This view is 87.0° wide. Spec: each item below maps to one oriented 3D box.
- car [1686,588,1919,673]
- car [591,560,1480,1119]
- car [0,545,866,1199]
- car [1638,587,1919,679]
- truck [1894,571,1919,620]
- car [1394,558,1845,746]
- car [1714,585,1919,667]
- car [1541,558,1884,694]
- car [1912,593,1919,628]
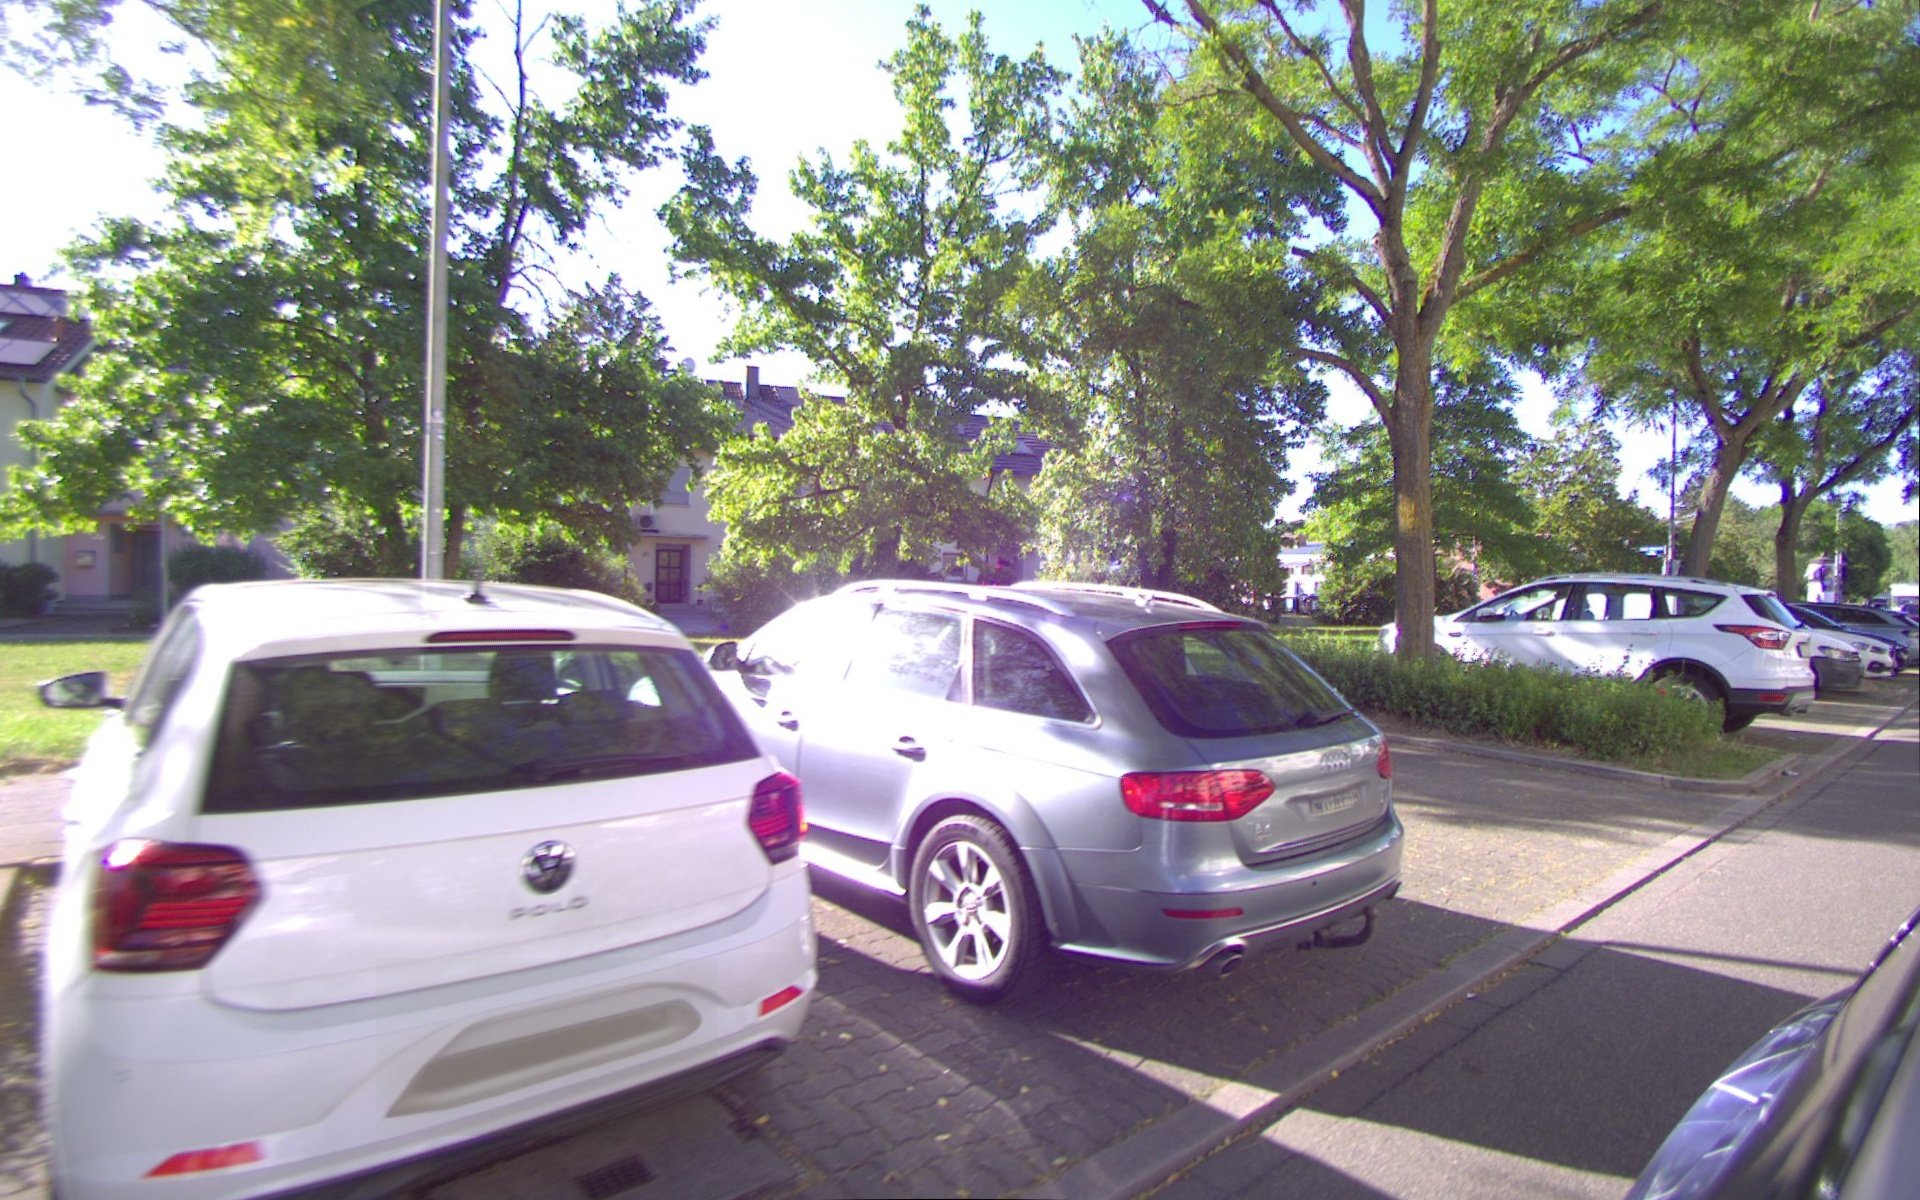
[{"bbox_3d":[18.314,0.580,21.878,1.716,1.679,4.045,0,0,-43],"label":"car"},{"bbox_3d":[-0.121,0.592,5.033,1.715,1.489,4.488,0,2,-41],"label":"car"},{"bbox_3d":[-2.099,0.601,3.609,1.606,1.453,3.919,0,3,-38],"label":"car"},{"bbox_3d":[16.166,0.566,20.126,1.716,1.425,4.144,0,4,-43],"label":"car"},{"bbox_3d":[59.748,-0.262,62.429,2.758,2.835,8.134,5,4,44],"label":"truck"},{"bbox_3d":[7.409,0.428,11.699,1.715,1.786,4.049,0,2,-41],"label":"car"},{"bbox_3d":[20.165,0.545,23.423,1.716,1.572,4.048,0,4,-43],"label":"car"},{"bbox_3d":[12.558,0.320,17.099,4.434,1.945,1.718,3,2,44],"label":"car"},{"bbox_3d":[46.419,0.524,47.946,1.770,1.635,3.987,5,4,44],"label":"car"}]
